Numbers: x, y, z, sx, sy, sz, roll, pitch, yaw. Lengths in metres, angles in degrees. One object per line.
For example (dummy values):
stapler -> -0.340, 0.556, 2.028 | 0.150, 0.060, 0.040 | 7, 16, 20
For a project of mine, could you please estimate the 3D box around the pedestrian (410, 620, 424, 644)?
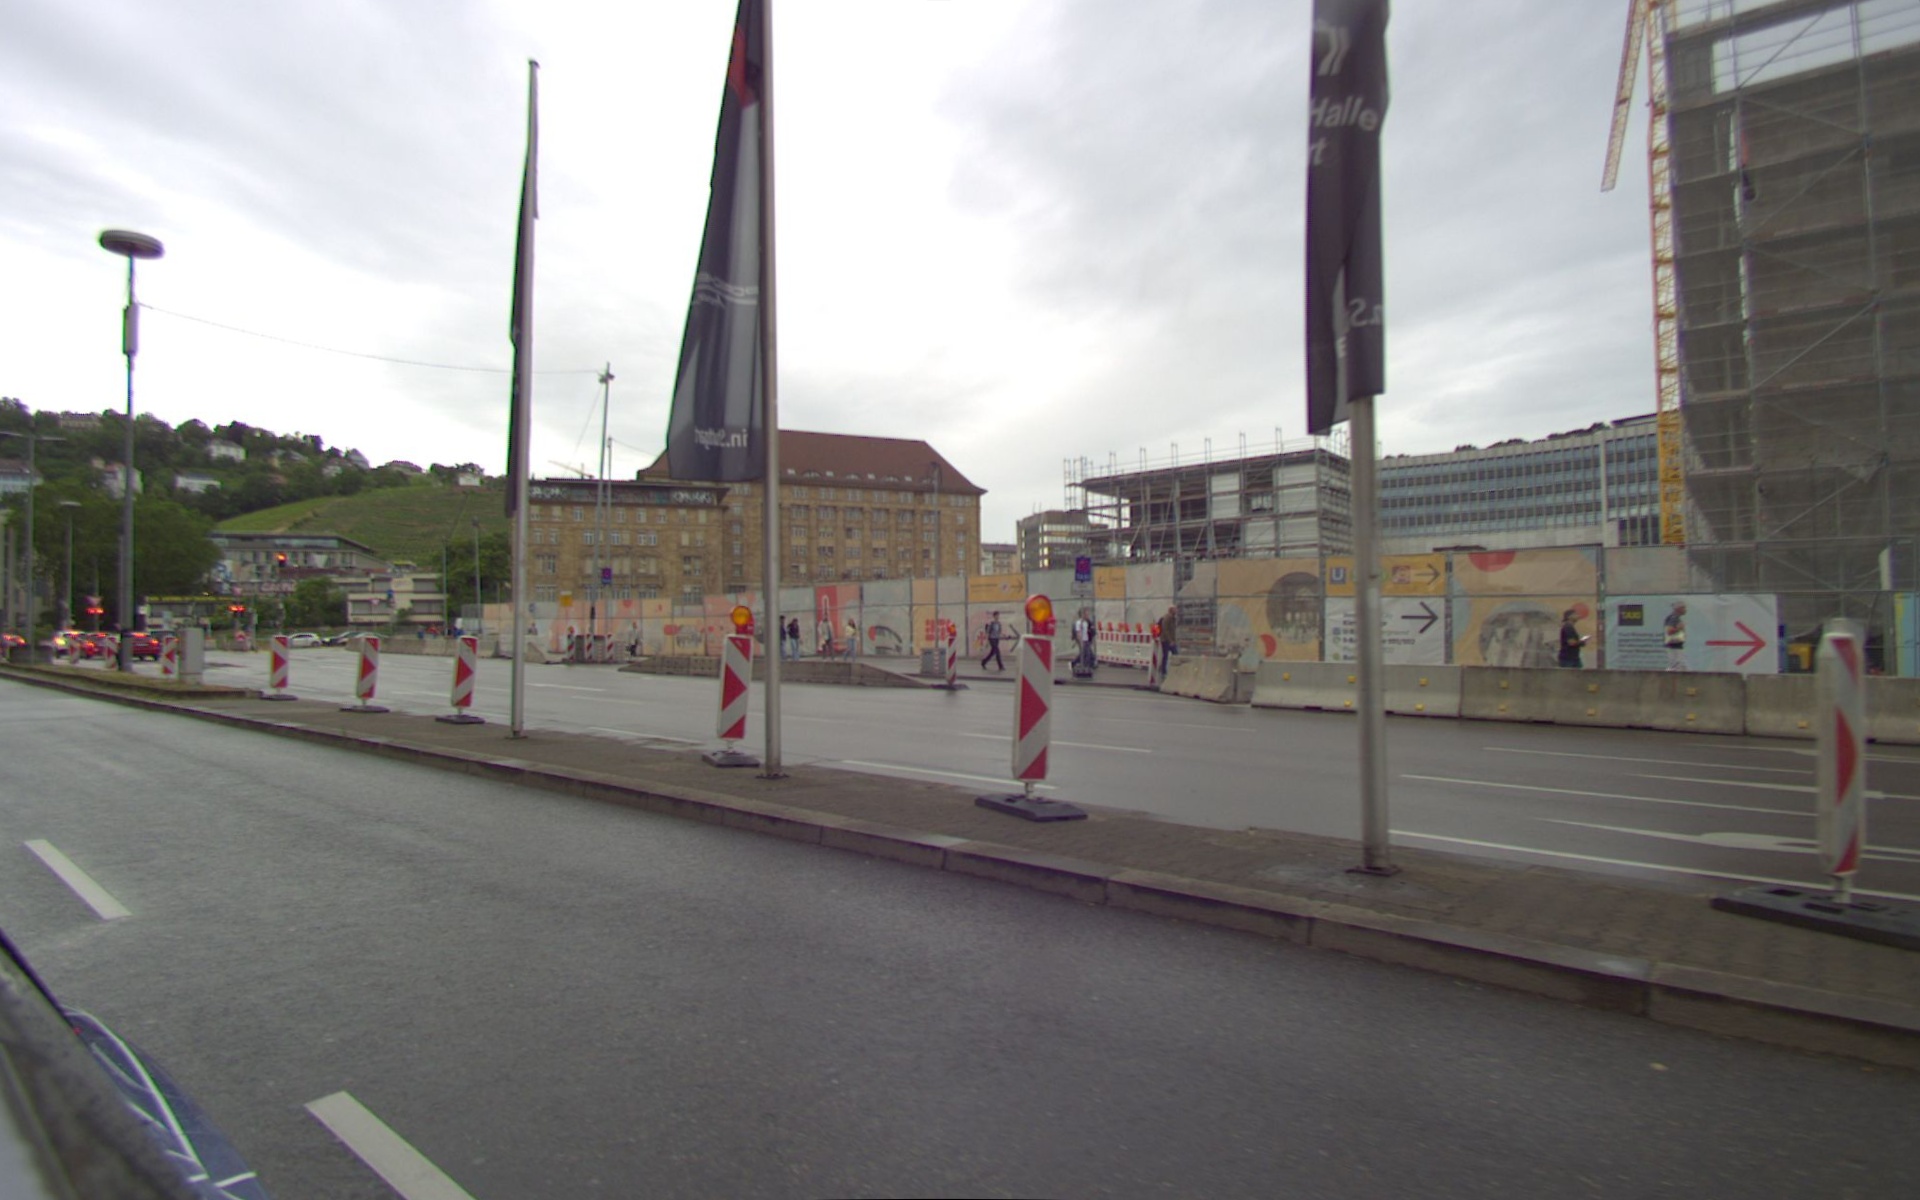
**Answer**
pedestrian -> -37.277, 2.182, 69.501 | 0.544, 1.628, 0.706 | -1, -1, 41

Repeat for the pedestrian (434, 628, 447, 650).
pedestrian -> -39.127, 2.935, 76.260 | 0.544, 1.628, 0.706 | -1, -1, 41

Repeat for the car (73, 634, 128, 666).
car -> -49.236, 2.852, 57.961 | 3.913, 1.707, 1.763 | -1, -1, 40

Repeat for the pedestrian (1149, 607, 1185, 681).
pedestrian -> 5.281, 1.116, 25.833 | 0.717, 1.850, 0.475 | -1, -1, 41

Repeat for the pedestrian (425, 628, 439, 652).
pedestrian -> -36.704, 2.761, 70.383 | 0.544, 1.628, 0.706 | -1, -1, 41

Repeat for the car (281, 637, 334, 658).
car -> -63.864, 4.641, 99.095 | 4.136, 1.871, 1.833 | -1, -1, -44

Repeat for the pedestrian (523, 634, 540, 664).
pedestrian -> -23.355, 2.654, 55.139 | 0.544, 1.628, 0.706 | -1, -1, 41

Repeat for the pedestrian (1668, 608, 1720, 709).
pedestrian -> 13.824, 1.087, 19.068 | 0.717, 1.850, 0.475 | -1, -1, 41

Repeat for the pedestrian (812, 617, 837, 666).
pedestrian -> -4.942, 1.489, 36.843 | 0.704, 1.757, 0.565 | -1, -1, -29

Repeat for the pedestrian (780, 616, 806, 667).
pedestrian -> -6.146, 1.506, 37.229 | 0.704, 1.850, 0.719 | -1, -1, -30

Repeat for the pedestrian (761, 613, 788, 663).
pedestrian -> -6.640, 1.350, 36.231 | 0.704, 1.746, 0.719 | -1, -1, -30

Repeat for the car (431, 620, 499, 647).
car -> -44.540, 2.957, 91.125 | 5.171, 2.254, 2.002 | -1, -1, -44

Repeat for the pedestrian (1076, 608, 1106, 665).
pedestrian -> 3.865, 1.069, 29.894 | 0.544, 1.628, 0.706 | -1, -1, 41

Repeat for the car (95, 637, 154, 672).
car -> -43.673, 2.812, 52.889 | 3.914, 1.707, 1.762 | -2, -2, 41

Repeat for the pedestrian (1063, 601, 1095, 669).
pedestrian -> 3.302, 0.952, 28.086 | 0.717, 1.850, 0.475 | -1, -1, 41

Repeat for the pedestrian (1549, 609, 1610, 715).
pedestrian -> 11.106, 1.091, 18.136 | 0.819, 1.850, 0.572 | -1, -1, 41

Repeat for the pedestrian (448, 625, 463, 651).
pedestrian -> -31.971, 2.403, 64.129 | 0.544, 1.628, 0.706 | -1, -1, 41

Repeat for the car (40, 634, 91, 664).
car -> -54.584, 2.970, 61.729 | 3.913, 1.707, 1.763 | -1, -1, 40

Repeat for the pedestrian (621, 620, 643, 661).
pedestrian -> -15.217, 1.864, 46.931 | 0.720, 1.850, 0.656 | -1, -1, 41

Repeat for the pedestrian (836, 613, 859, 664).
pedestrian -> -4.123, 1.405, 37.129 | 0.651, 1.850, 0.557 | -1, -1, -28

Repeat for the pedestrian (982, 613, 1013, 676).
pedestrian -> 1.131, 1.335, 30.590 | 0.717, 1.850, 0.579 | -1, -1, 41
